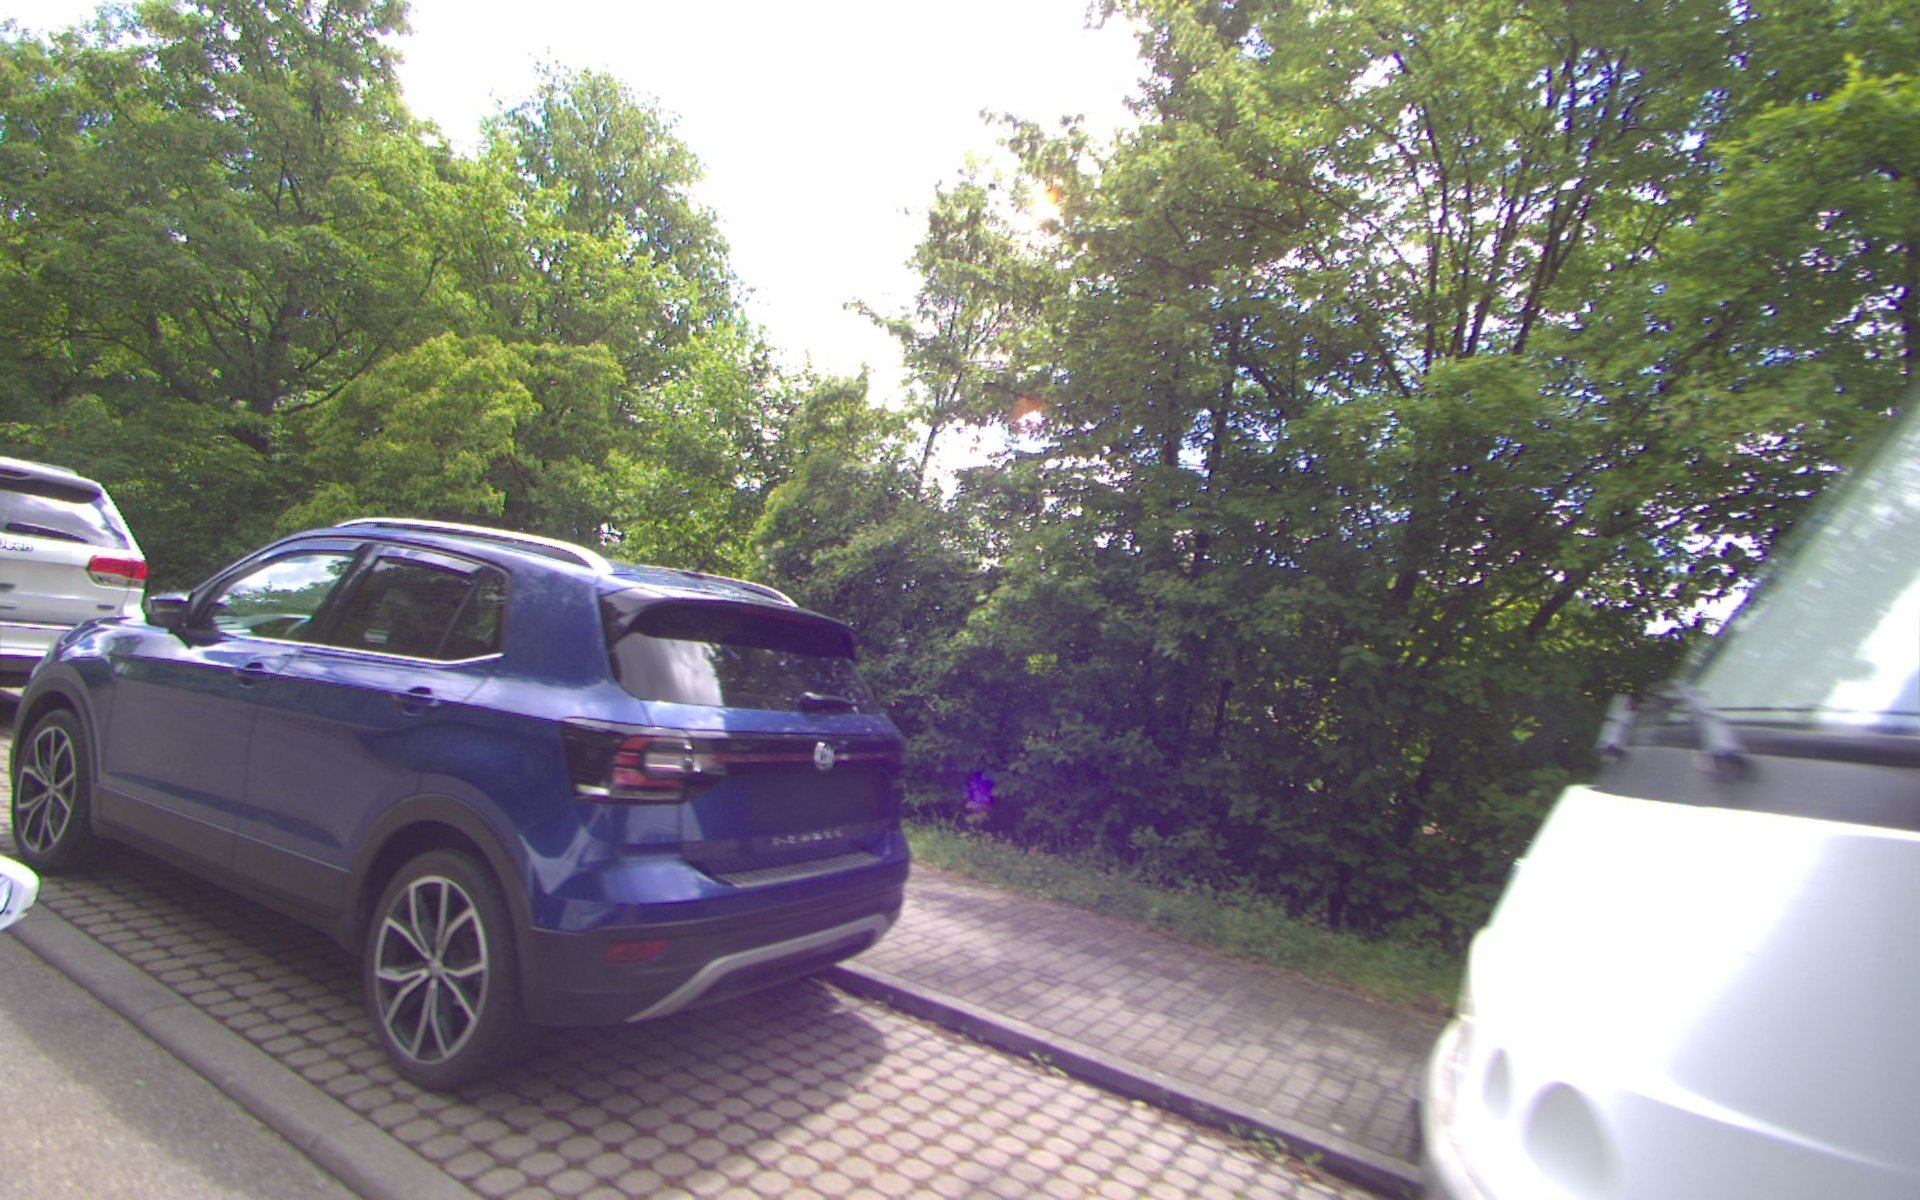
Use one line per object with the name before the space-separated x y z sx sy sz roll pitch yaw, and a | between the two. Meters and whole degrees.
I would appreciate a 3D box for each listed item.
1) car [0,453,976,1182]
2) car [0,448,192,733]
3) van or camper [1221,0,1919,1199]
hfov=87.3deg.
car | -2.155 0.473 4.103 3.931 1.609 1.716 7 -3 29
car | -7.833 -0.326 7.200 4.500 1.707 1.879 8 -4 29
van or camper | 3.570 0.527 0.657 6.051 2.899 2.339 7 -4 33
